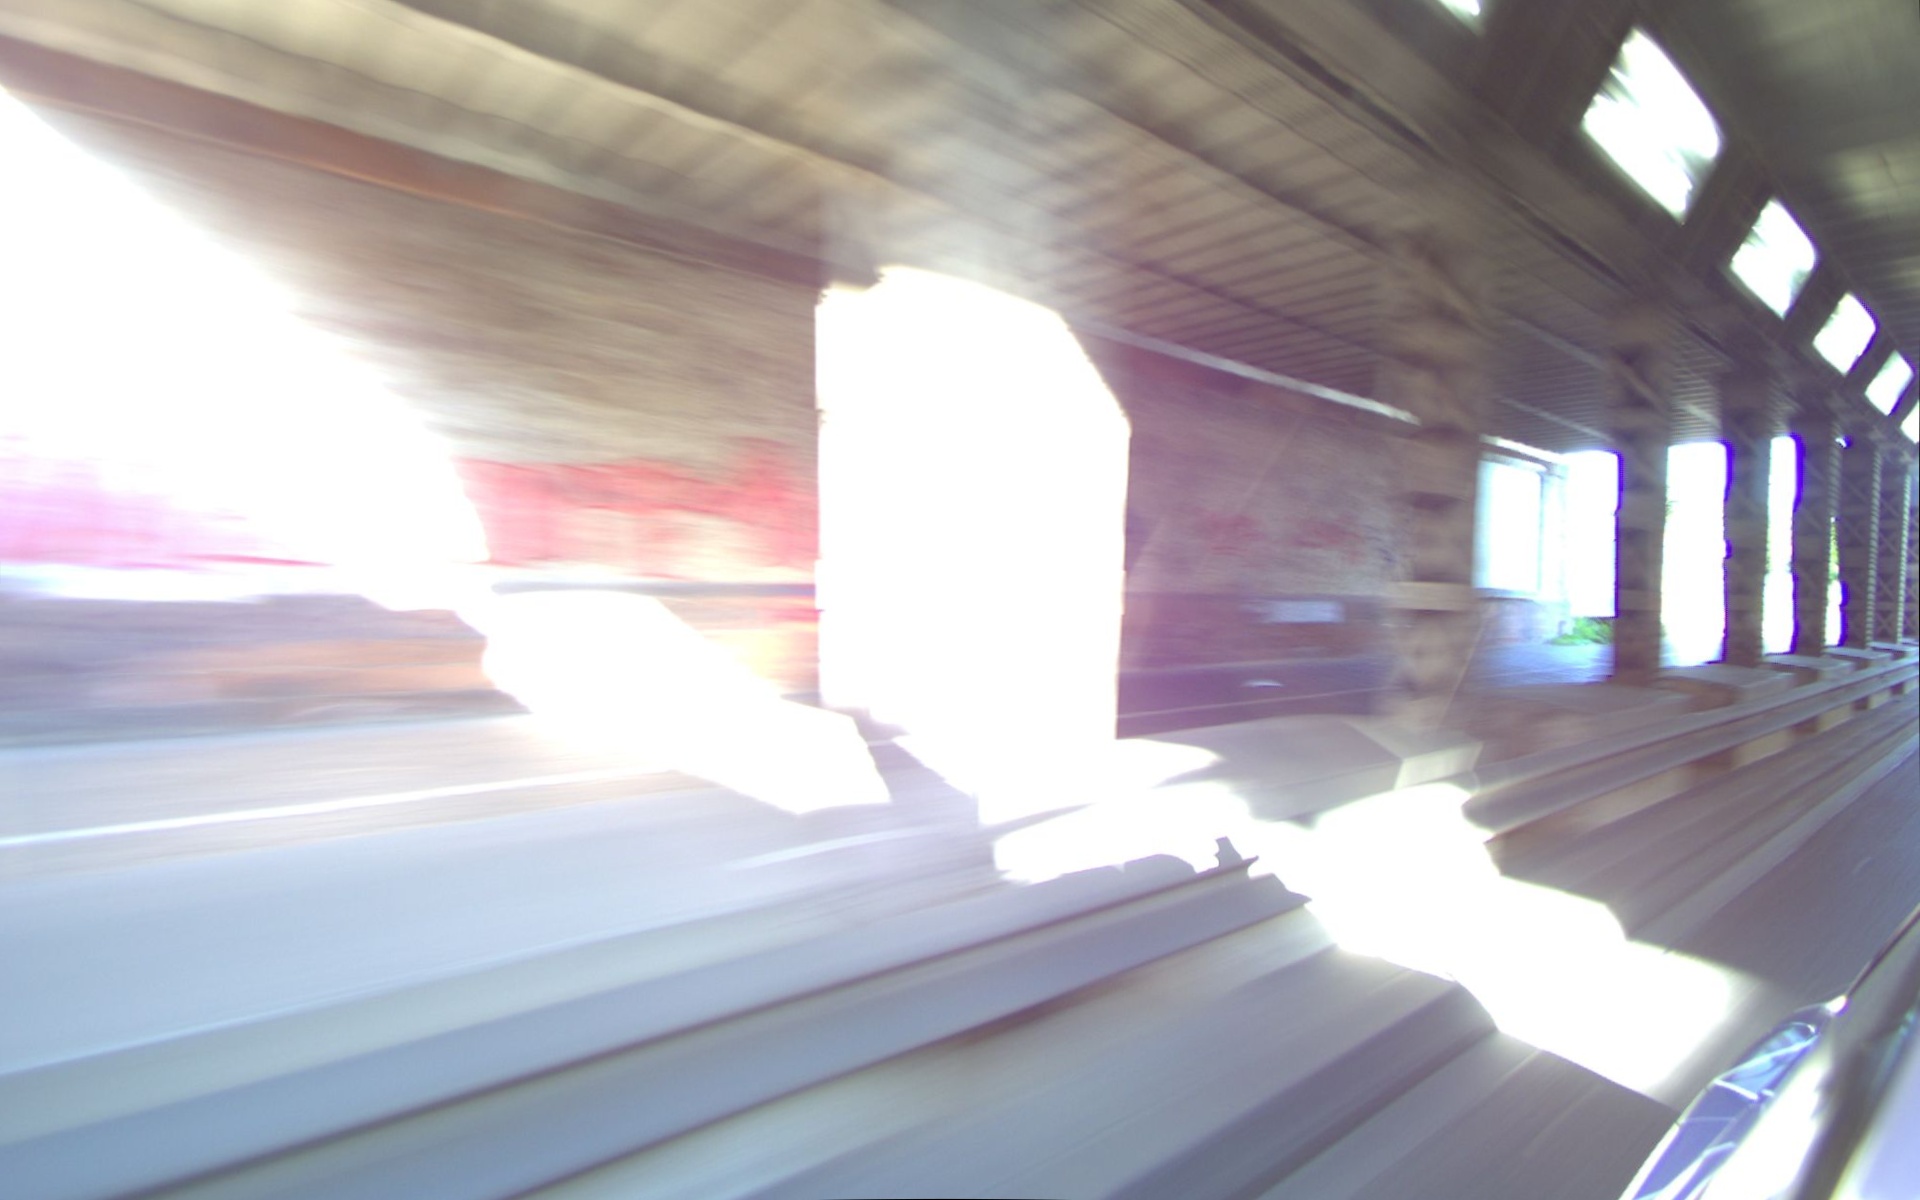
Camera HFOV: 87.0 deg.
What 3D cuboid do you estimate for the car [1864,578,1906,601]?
[{"bbox_3d":[63.510,-0.747,69.462,4.203,1.530,1.887,-1,1,-44],"label":"car"}]
